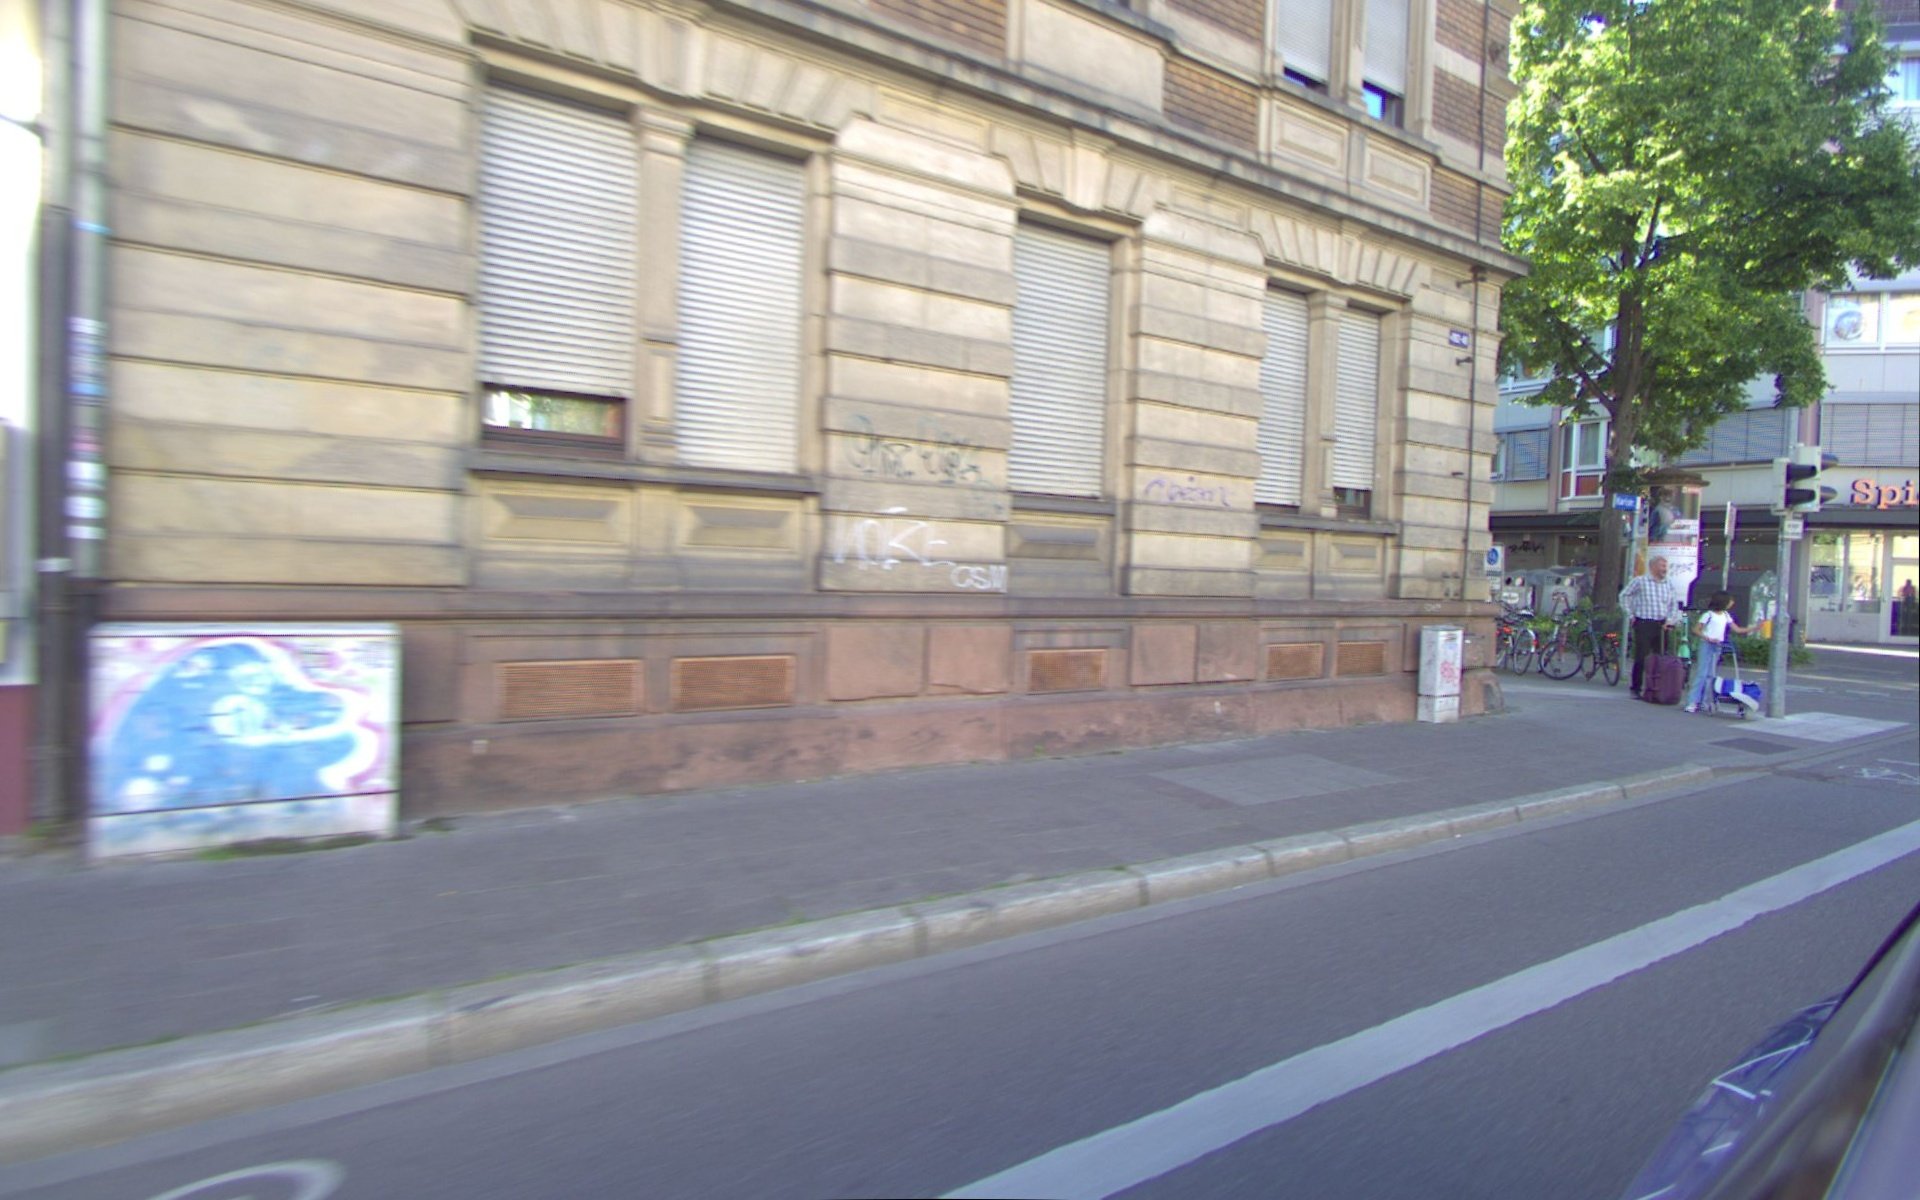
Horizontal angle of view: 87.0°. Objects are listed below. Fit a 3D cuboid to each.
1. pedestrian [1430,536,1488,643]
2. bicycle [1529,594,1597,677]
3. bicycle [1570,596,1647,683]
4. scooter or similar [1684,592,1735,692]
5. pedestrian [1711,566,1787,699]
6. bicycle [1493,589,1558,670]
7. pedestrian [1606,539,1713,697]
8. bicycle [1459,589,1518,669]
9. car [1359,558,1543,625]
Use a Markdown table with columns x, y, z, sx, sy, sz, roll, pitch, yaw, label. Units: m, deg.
| x | y | z | sx | sy | sz | roll | pitch | yaw | label |
| --- | --- | --- | --- | --- | --- | --- | --- | --- | --- |
| 9.727 | -0.222 | 19.737 | 0.934 | 2.009 | 0.711 | 2 | 2 | 27 | pedestrian |
| 9.039 | 0.494 | 15.225 | 0.438 | 1.129 | 1.805 | 2 | 2 | 17 | bicycle |
| 9.366 | 0.531 | 14.670 | 0.438 | 1.129 | 1.805 | 2 | 2 | 17 | bicycle |
| 10.464 | 0.556 | 14.121 | 0.390 | 1.305 | 1.499 | 3 | 2 | 42 | scooter or similar |
| 8.837 | 0.344 | 11.333 | 0.566 | 1.432 | 0.579 | 1 | 0 | -42 | pedestrian |
| 8.629 | 0.416 | 15.494 | 0.438 | 1.129 | 1.805 | 2 | 2 | 17 | bicycle |
| 8.568 | 0.197 | 12.435 | 0.841 | 1.830 | 0.869 | 3 | 1 | 24 | pedestrian |
| 8.219 | 0.412 | 15.792 | 0.438 | 1.129 | 1.805 | 2 | 2 | 17 | bicycle |
| 12.703 | -0.239 | 26.262 | 3.916 | 1.622 | 2.005 | 1 | 2 | -16 | car |
